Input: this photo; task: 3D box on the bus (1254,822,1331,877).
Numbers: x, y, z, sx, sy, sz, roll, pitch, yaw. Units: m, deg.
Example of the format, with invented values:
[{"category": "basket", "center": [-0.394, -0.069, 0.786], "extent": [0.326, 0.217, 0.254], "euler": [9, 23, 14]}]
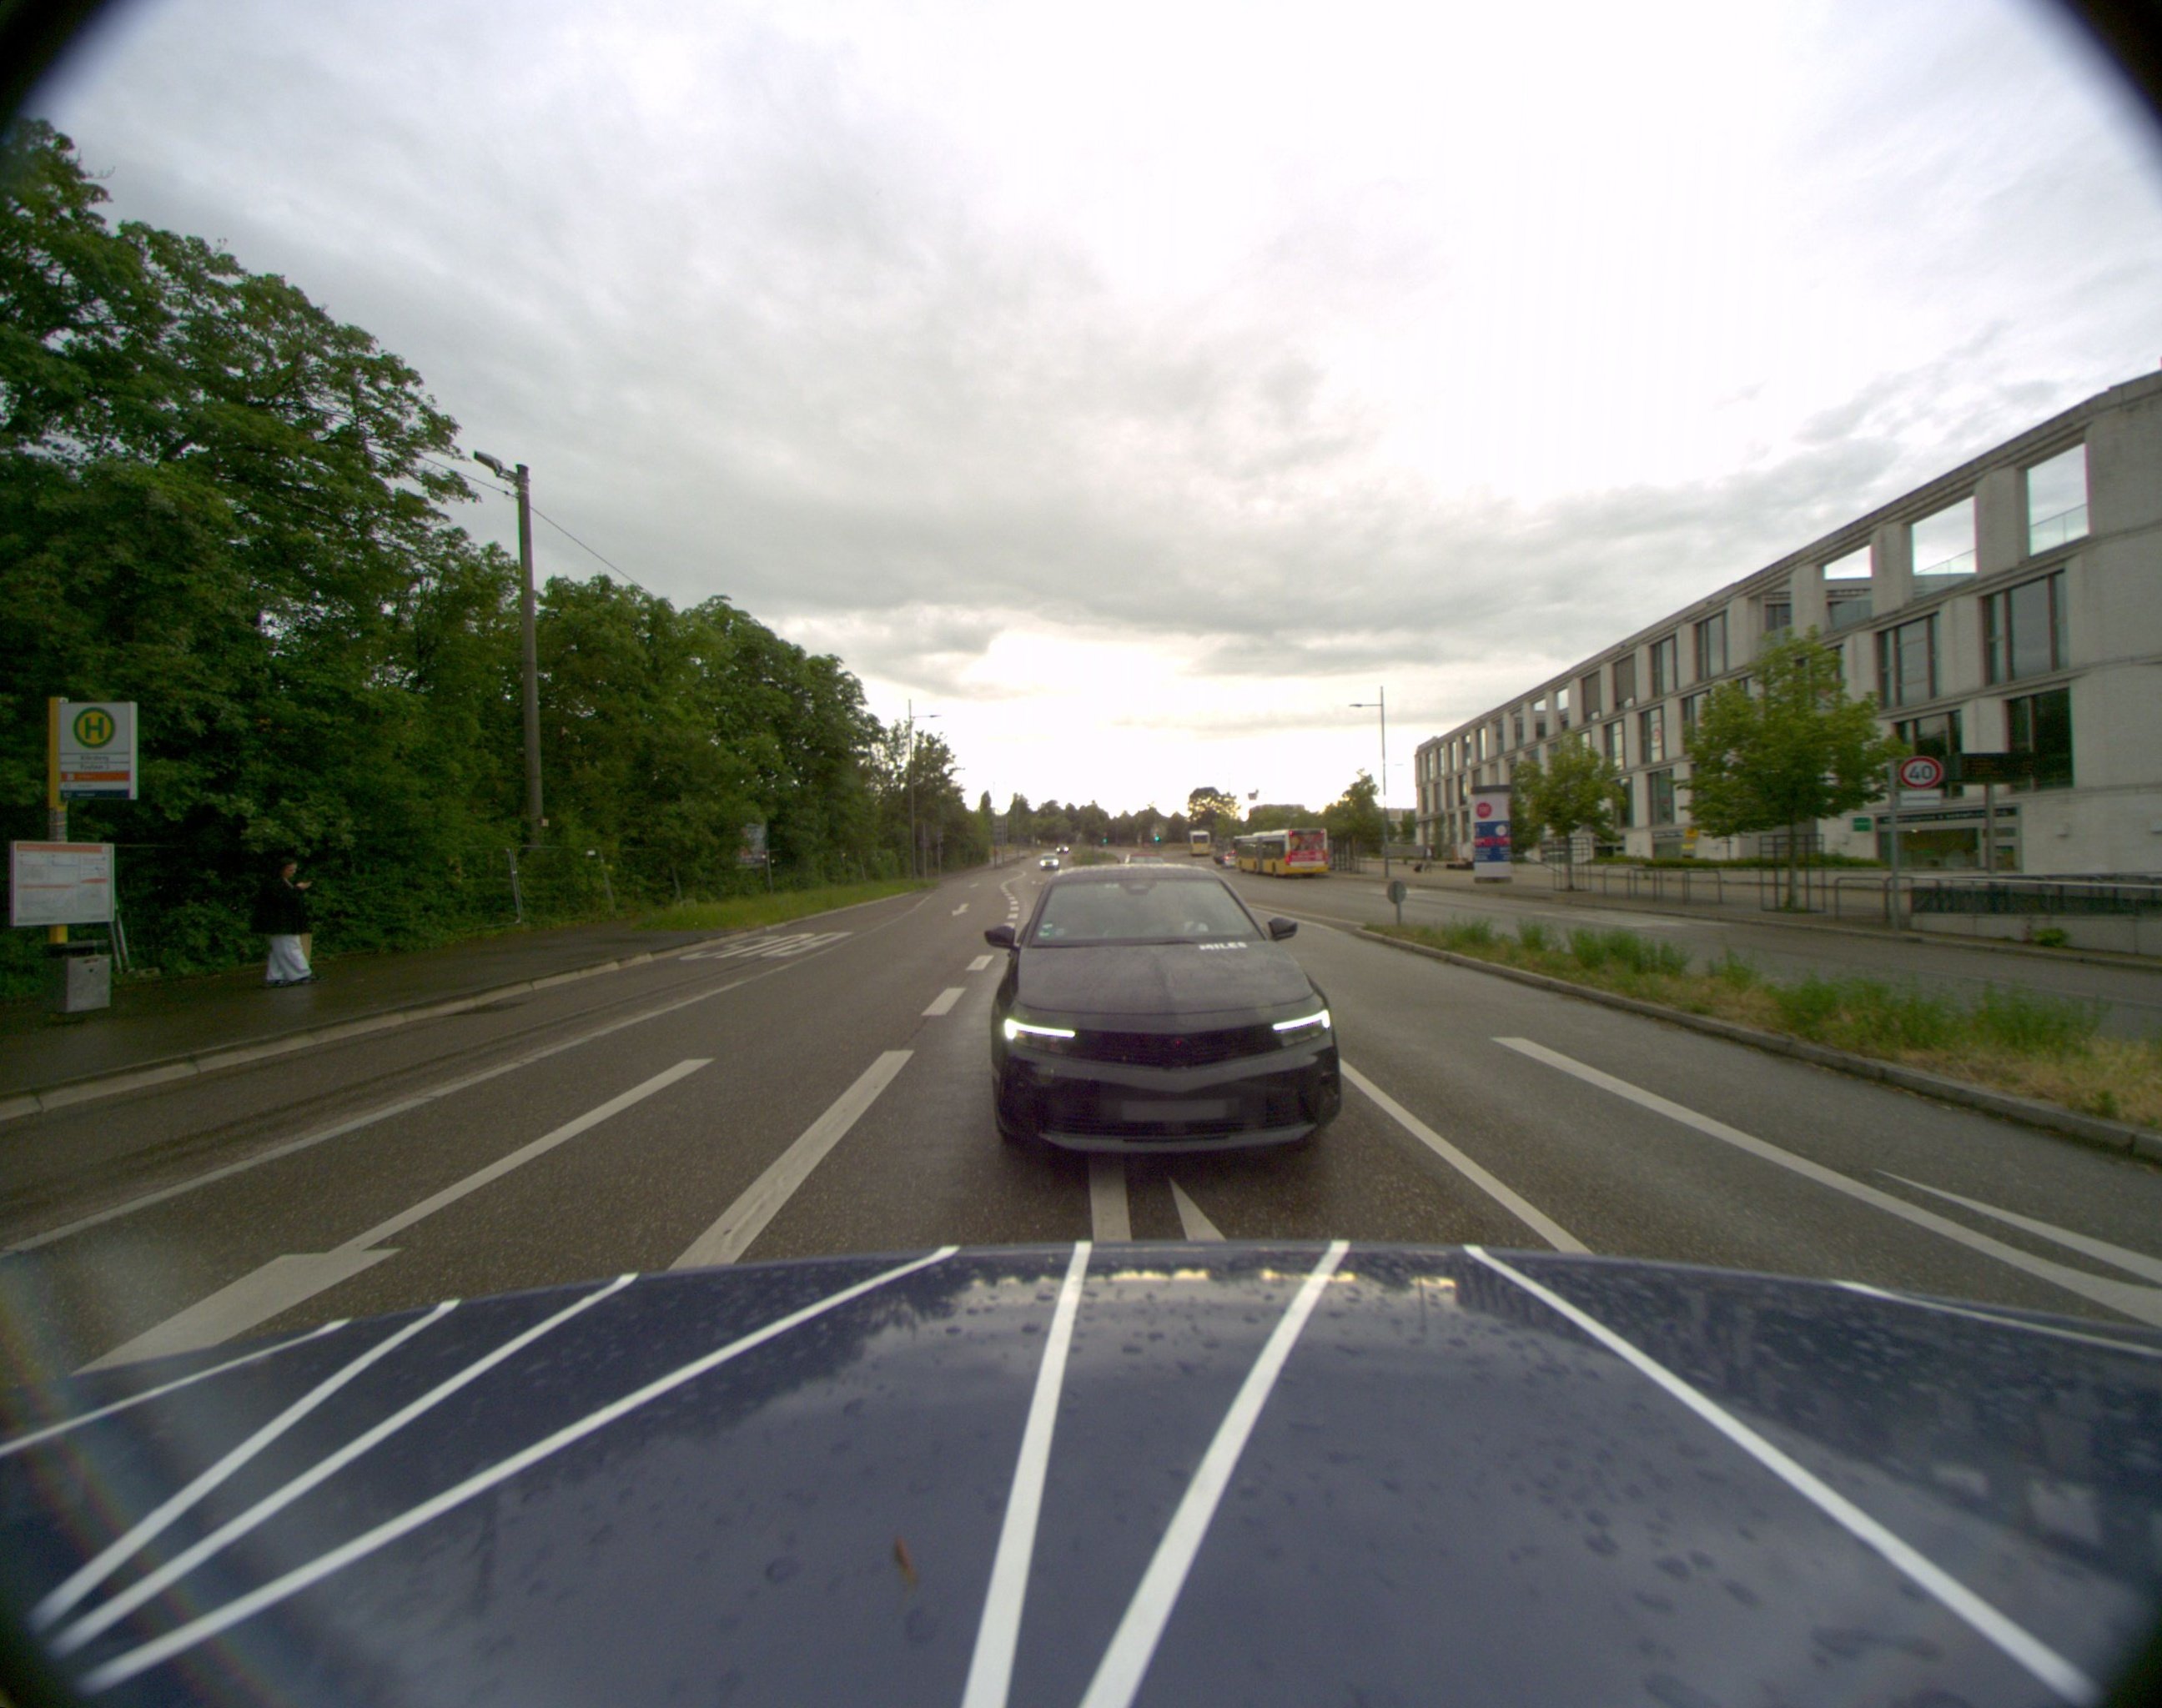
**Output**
[{"category": "bus", "center": [13.823, -0.311, 50.532], "extent": [2.759, 3.194, 9.207], "euler": [-2, 1, 2]}]

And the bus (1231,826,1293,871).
[{"category": "bus", "center": [14.114, -0.451, 60.037], "extent": [2.693, 3.163, 9.912], "euler": [-2, 1, 2]}]

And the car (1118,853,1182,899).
[{"category": "car", "center": [2.364, 0.718, 26.767], "extent": [1.632, 1.473, 3.504], "euler": [-1, 1, -5]}]

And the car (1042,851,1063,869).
[{"category": "car", "center": [-2.781, 0.564, 73.703], "extent": [1.901, 1.524, 4.766], "euler": [-2, 1, -2]}]

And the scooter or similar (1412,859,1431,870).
[{"category": "scooter or similar", "center": [20.207, 0.626, 45.090], "extent": [0.642, 0.648, 0.832], "euler": [-1, 1, -16]}]

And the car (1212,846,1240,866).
[{"category": "car", "center": [13.581, 0.161, 71.508], "extent": [1.867, 1.777, 3.999], "euler": [-2, 1, 1]}]

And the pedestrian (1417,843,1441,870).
[{"category": "pedestrian", "center": [20.526, 0.136, 44.854], "extent": [0.867, 1.572, 0.983], "euler": [-2, 1, -12]}]

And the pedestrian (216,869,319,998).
[{"category": "pedestrian", "center": [-10.653, 1.016, 9.973], "extent": [0.588, 1.618, 0.661], "euler": [-1, 1, 1]}]

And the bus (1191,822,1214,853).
[{"category": "bus", "center": [18.454, -2.429, 114.309], "extent": [2.757, 4.129, 19.359], "euler": [-2, 1, 11]}]

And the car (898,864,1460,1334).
[{"category": "car", "center": [0.374, 0.892, 5.023], "extent": [1.901, 1.456, 4.767], "euler": [-2, 1, 1]}]

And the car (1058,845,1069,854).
[{"category": "car", "center": [-3.397, -0.910, 145.278], "extent": [1.934, 1.649, 4.617], "euler": [-1, 0, -2]}]
